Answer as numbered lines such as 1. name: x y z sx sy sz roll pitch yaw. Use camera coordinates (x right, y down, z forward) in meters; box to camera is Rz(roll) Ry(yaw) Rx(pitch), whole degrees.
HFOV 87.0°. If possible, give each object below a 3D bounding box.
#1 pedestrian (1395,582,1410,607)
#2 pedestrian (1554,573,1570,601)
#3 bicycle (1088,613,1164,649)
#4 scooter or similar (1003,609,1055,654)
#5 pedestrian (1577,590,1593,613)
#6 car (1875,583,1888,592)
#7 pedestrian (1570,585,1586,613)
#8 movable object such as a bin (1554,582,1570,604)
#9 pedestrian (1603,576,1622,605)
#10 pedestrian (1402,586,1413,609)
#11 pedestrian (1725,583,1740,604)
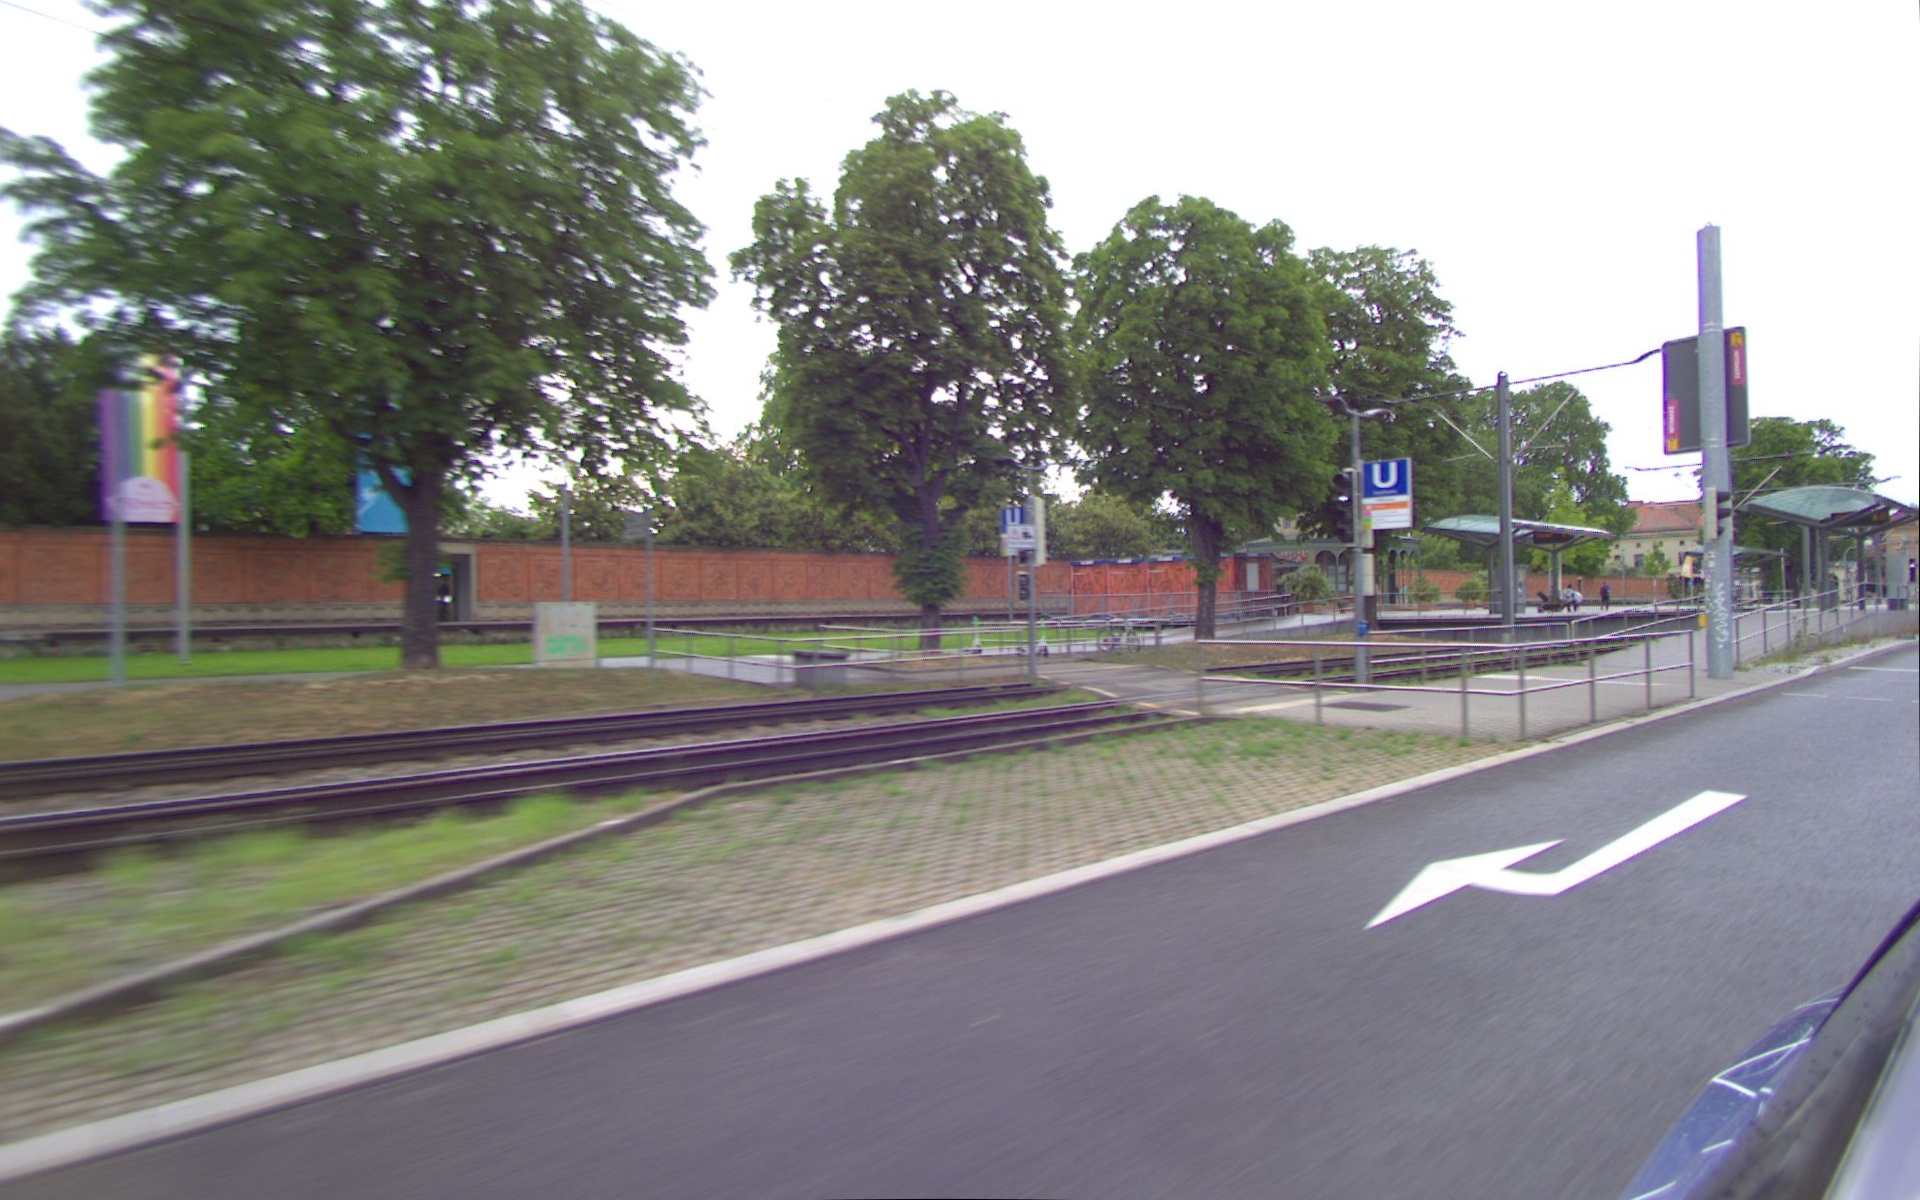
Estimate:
1. pedestrian: 31.551 -0.378 72.177 0.681 1.732 0.533 -3 -2 -29
2. pedestrian: 26.888 -0.560 45.205 0.541 1.241 0.438 0 0 -40
3. bicycle: 4.741 0.880 29.083 0.560 0.969 2.325 0 0 -41
4. scooter or similar: 1.834 0.836 27.168 0.424 1.151 1.546 0 0 -41
5. pedestrian: 28.028 0.057 45.390 0.541 1.021 0.438 -1 0 -40
6. car: 174.586 -2.280 191.688 1.825 1.602 3.938 -2 0 43
7. pedestrian: 27.329 -0.044 44.768 0.541 1.241 0.438 0 0 -40
8. movable object such as a bin: 27.528 -0.323 46.259 0.670 1.021 0.438 0 0 -40
9. pedestrian: 41.878 -0.611 64.917 1.161 1.813 0.722 0 0 -40
10. pedestrian: 32.155 -0.177 72.760 0.460 1.678 0.552 -2 -1 -6
11. pedestrian: 48.724 -0.416 63.825 0.770 1.228 0.518 -2 -5 -44
